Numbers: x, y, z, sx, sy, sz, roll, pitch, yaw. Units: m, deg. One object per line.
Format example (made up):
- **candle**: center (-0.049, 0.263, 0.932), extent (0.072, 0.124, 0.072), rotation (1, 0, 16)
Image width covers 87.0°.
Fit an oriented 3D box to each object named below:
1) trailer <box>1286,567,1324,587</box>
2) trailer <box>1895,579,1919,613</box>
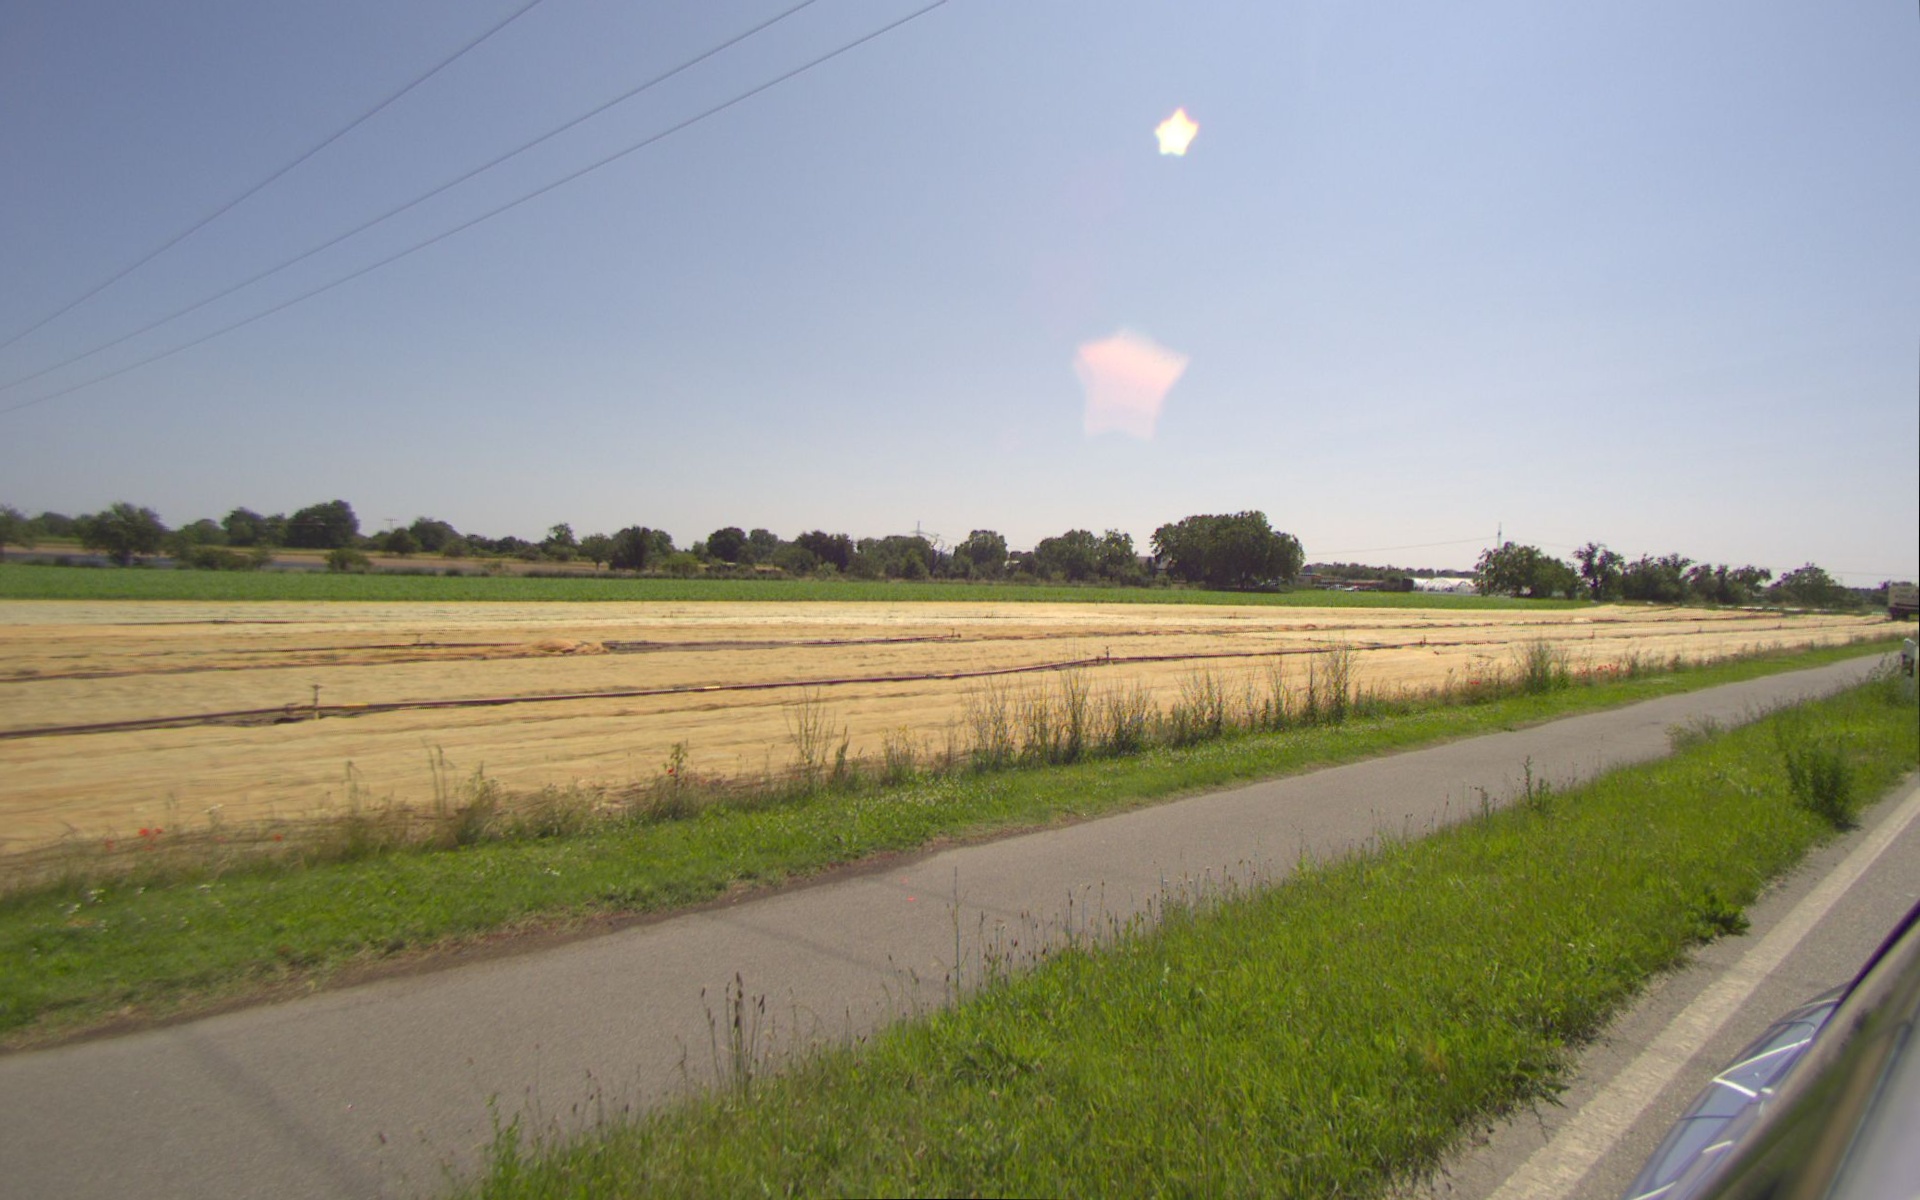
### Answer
- **trailer**: center (72.944, -4.914, 214.254), extent (3.093, 4.274, 7.453), rotation (0, 1, -27)
- **trailer**: center (88.101, -0.320, 91.109), extent (1.958, 2.988, 5.309), rotation (-1, 3, -20)
